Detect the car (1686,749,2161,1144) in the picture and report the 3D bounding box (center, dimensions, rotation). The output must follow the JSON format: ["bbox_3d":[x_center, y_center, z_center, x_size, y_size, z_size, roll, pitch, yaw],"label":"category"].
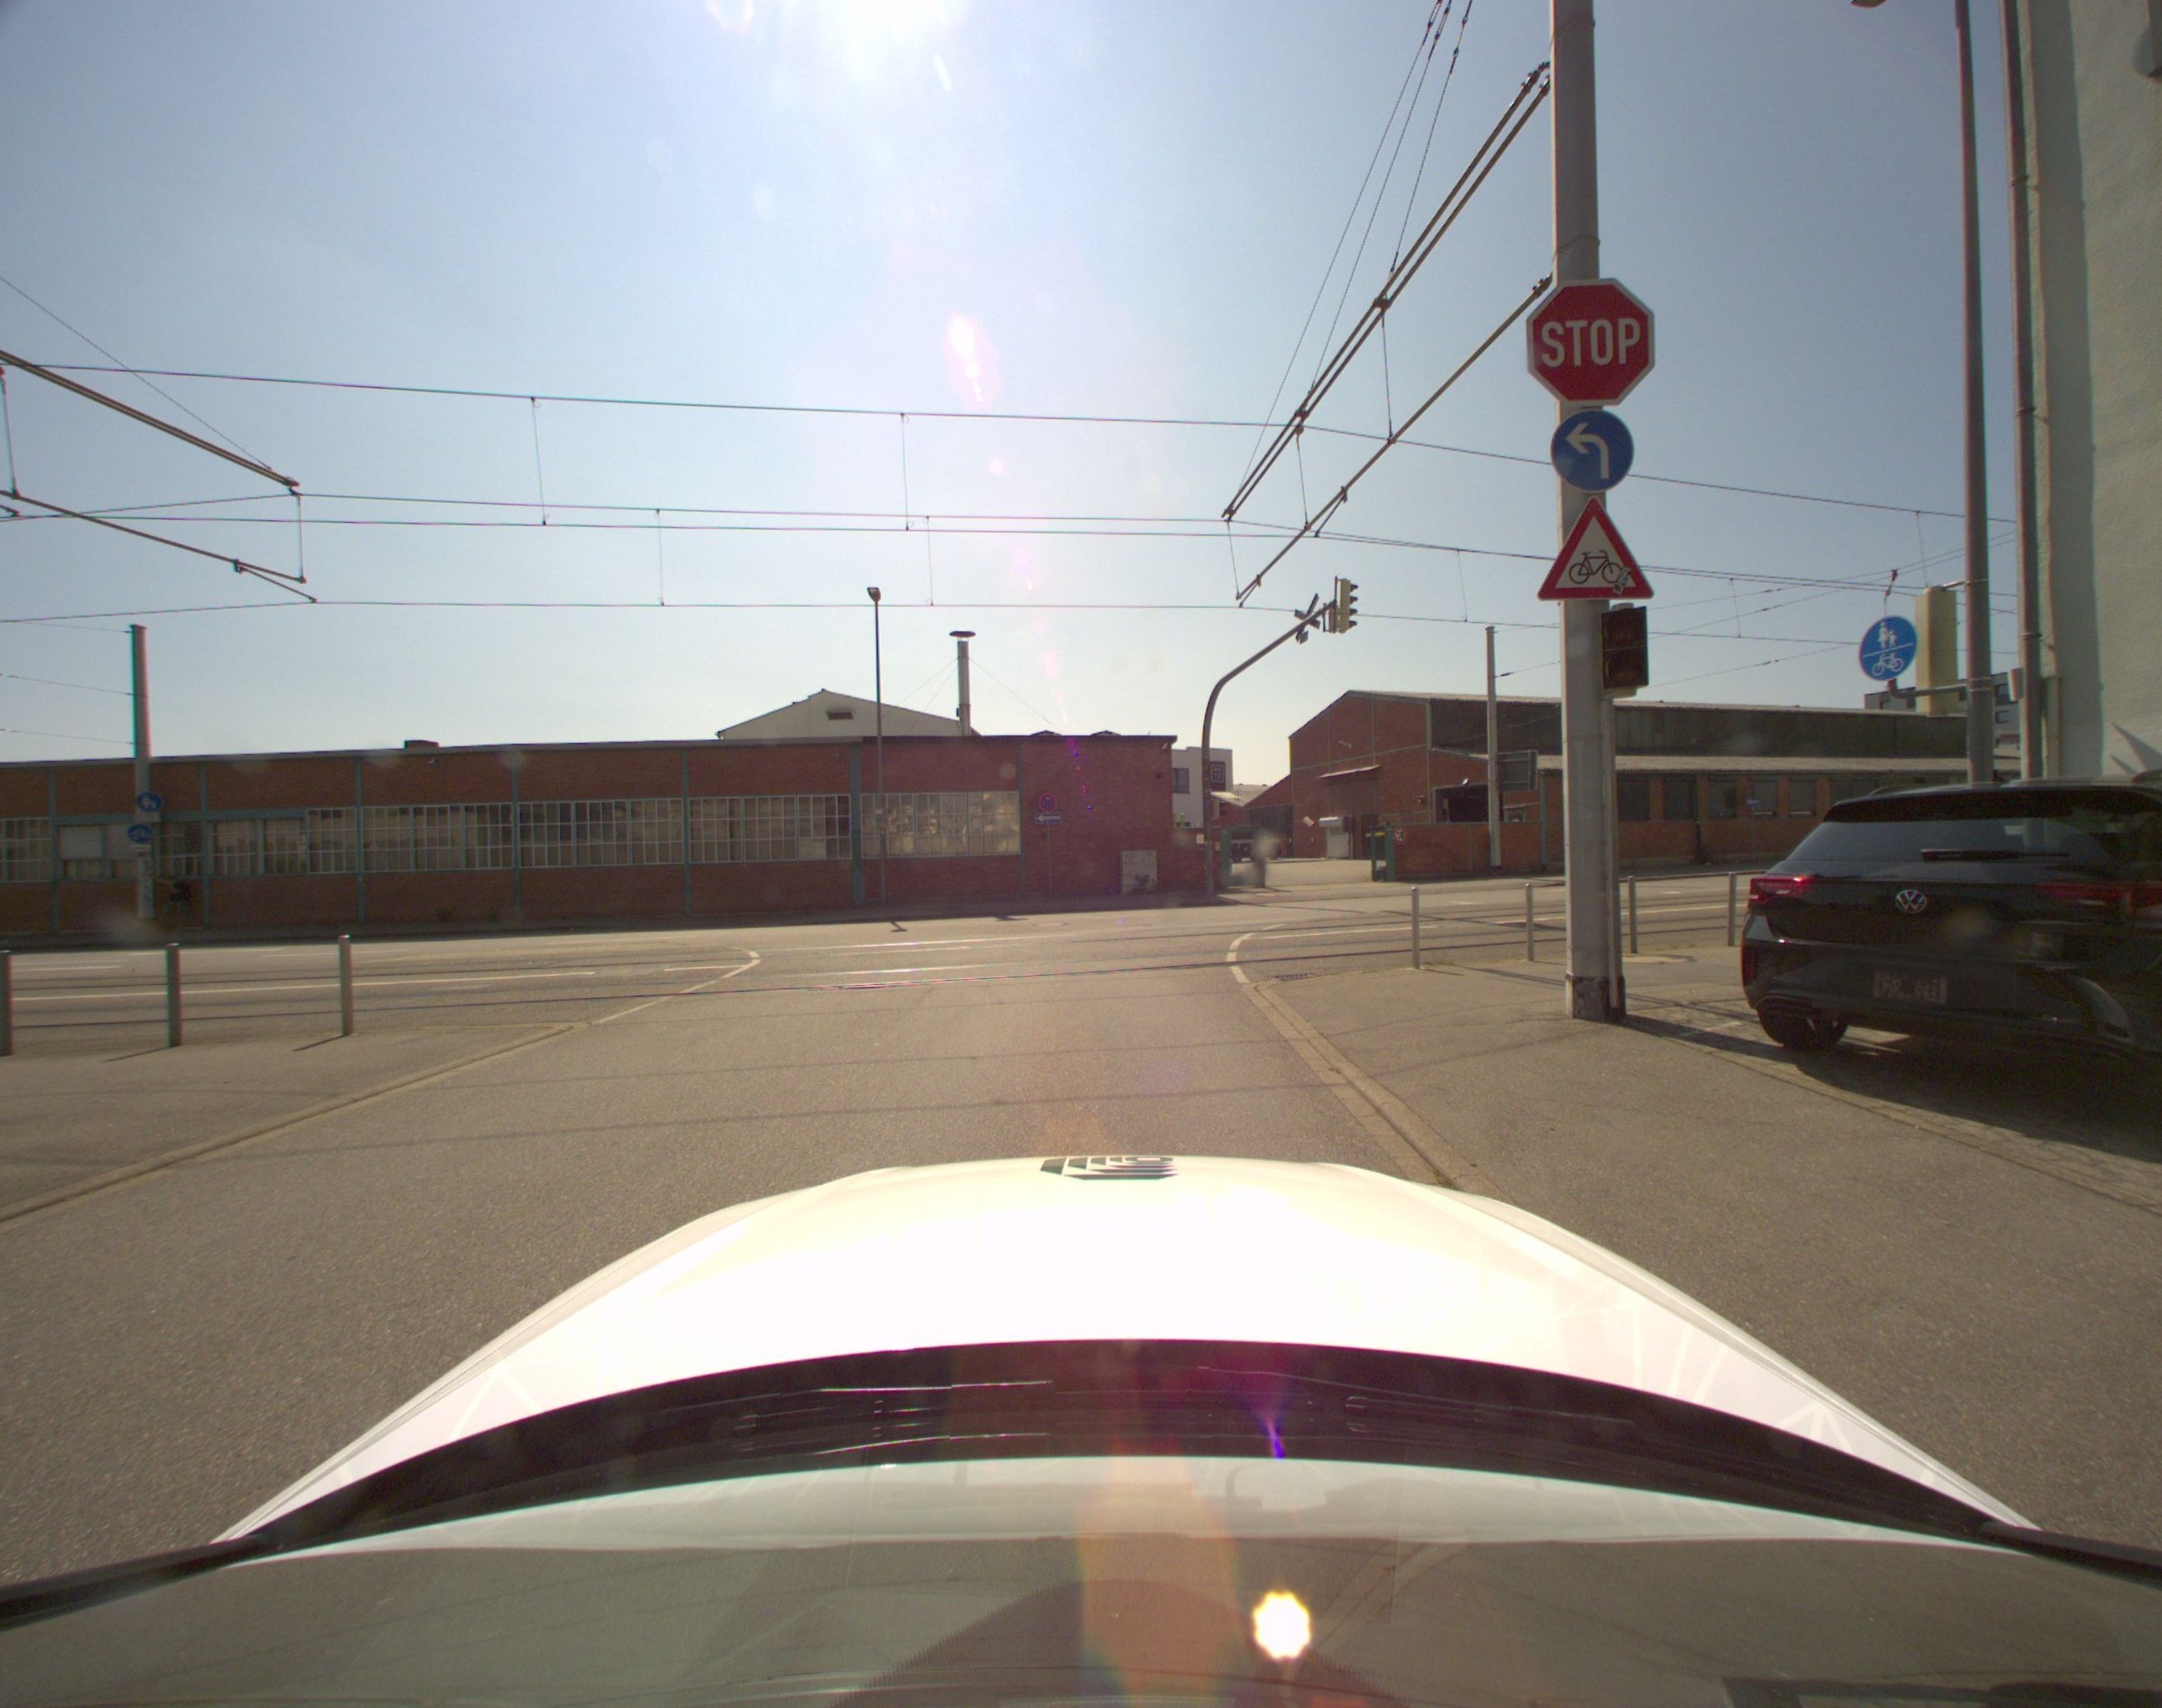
[{"bbox_3d":[5.691,0.312,4.632,3.978,1.521,1.866,-2,0,-23],"label":"car"}]

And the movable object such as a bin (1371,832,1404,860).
[{"bbox_3d":[14.768,-0.394,39.322,0.976,1.314,1.146,-2,0,-15],"label":"movable object such as a bin"}]

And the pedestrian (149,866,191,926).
[{"bbox_3d":[-27.382,1.237,24.481,0.445,1.765,0.688,1,0,10],"label":"pedestrian"}]

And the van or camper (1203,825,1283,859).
[{"bbox_3d":[9.419,-0.660,47.231,4.439,1.900,1.979,1,0,-34],"label":"van or camper"}]
